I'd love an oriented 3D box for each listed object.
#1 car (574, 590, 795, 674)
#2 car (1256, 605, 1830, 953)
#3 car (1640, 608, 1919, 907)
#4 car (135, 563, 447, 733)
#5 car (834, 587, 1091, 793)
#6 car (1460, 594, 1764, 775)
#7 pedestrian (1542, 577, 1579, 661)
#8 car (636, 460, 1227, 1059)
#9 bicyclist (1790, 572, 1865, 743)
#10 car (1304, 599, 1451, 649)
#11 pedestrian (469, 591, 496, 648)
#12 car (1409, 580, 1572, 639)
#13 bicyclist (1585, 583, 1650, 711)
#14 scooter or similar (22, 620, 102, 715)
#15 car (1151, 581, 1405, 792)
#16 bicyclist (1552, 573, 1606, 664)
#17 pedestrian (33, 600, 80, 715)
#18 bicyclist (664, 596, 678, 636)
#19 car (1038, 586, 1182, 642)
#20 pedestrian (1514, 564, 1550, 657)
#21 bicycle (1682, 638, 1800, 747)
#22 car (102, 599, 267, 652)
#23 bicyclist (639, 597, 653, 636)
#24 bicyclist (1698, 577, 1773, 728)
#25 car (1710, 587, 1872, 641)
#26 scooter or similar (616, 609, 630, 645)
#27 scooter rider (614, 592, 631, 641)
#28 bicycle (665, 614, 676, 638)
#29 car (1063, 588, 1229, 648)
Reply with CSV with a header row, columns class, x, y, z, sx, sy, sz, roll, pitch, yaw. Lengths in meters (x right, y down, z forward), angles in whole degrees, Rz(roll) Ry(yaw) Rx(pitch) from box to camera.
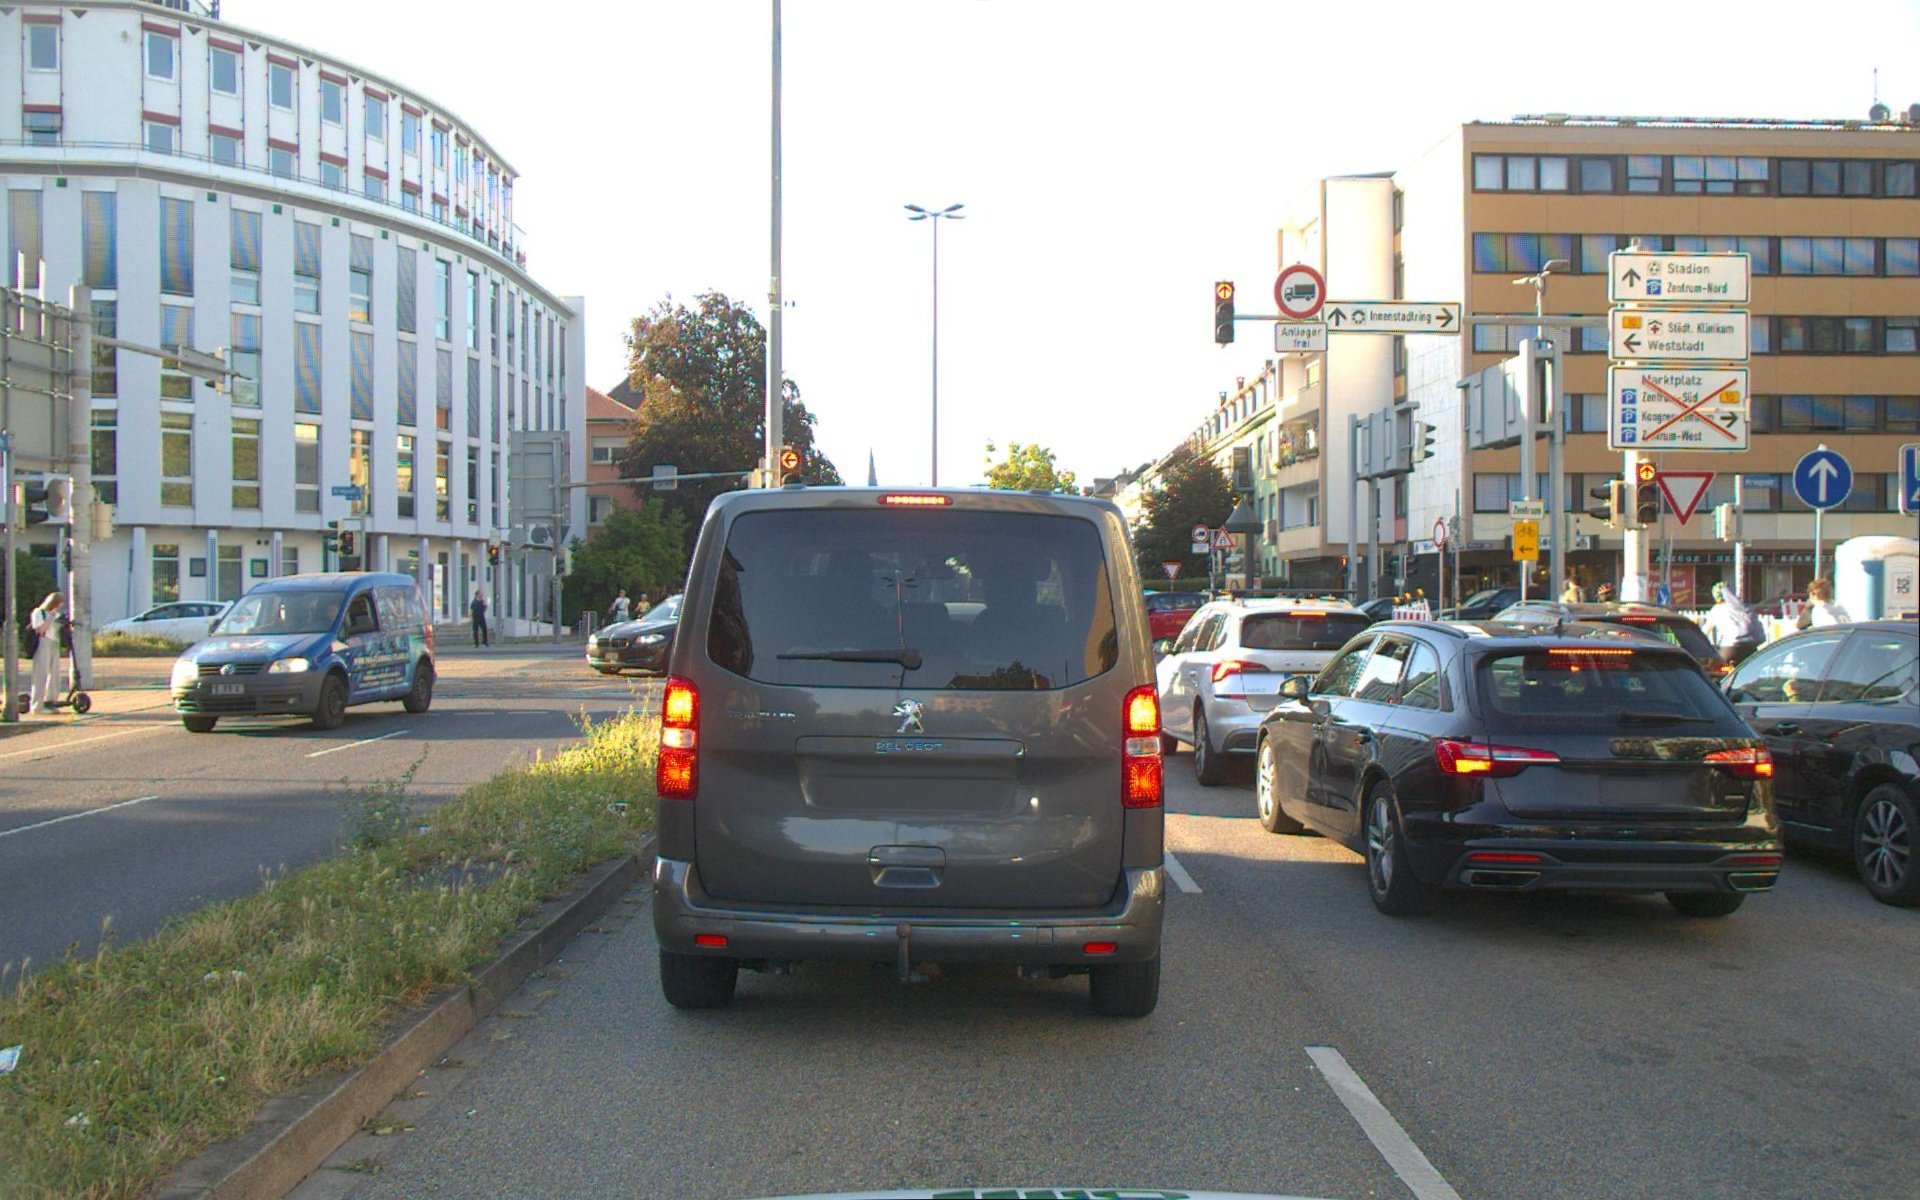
class,x,y,z,sx,sy,sz,roll,pitch,yaw
car,-5.134,0.560,31.351,1.668,1.467,4.227,0,0,35
car,2.896,0.781,9.241,1.647,1.446,4.213,1,0,-1
car,5.609,0.815,9.740,1.600,1.474,3.744,1,0,-1
car,-8.024,0.520,20.316,1.952,1.849,4.231,0,0,2
car,-0.008,0.680,14.616,1.953,1.557,3.999,0,0,-1
car,5.931,0.699,15.420,1.474,1.474,3.304,1,0,-1
pedestrian,12.244,0.376,33.714,0.589,1.700,0.454,0,0,1
car,-0.120,0.511,7.591,1.868,1.896,4.525,1,0,-1
bicyclist,7.981,0.522,15.229,0.432,1.552,0.482,0,0,-1
car,11.991,0.674,47.561,3.744,1.378,1.724,0,0,-8
pedestrian,-14.674,0.588,50.848,0.620,1.752,0.664,0,0,-33
car,14.303,0.236,44.643,3.918,1.543,1.676,0,0,-13
bicyclist,8.072,0.565,20.324,0.503,1.552,0.725,0,0,-1
scooter or similar,-12.141,0.910,22.373,0.877,1.255,0.370,0,0,-12
car,2.728,0.678,14.928,1.498,1.641,3.744,1,0,-1
bicyclist,11.221,0.332,29.999,0.605,1.616,0.814,1,1,-4
pedestrian,-12.225,0.768,22.386,0.466,1.532,0.334,0,0,-13
bicyclist,-11.552,0.632,66.032,0.467,1.582,0.509,0,0,-1
car,4.474,0.403,49.566,4.039,1.622,1.793,0,0,-6
pedestrian,11.629,0.212,33.641,0.558,1.866,0.487,0,0,1
bicycle,8.140,0.935,17.307,0.329,1.025,1.855,0,0,-1
car,-21.140,0.689,45.202,3.709,1.396,1.648,0,0,-7
bicyclist,-12.437,0.638,65.486,0.453,1.548,0.469,0,0,-1
bicyclist,8.144,0.543,17.390,0.432,1.552,0.725,0,0,-1
car,23.080,0.363,45.976,3.920,1.443,1.675,0,0,-14
scooter or similar,-11.854,0.943,58.203,0.279,1.209,1.169,0,0,-1
scooter rider,-11.847,0.583,58.128,0.471,1.727,0.636,0,0,-1
bicycle,-11.560,1.033,65.985,0.270,0.965,1.072,0,0,-1
car,4.739,0.433,42.040,3.938,1.443,1.668,0,0,-26
